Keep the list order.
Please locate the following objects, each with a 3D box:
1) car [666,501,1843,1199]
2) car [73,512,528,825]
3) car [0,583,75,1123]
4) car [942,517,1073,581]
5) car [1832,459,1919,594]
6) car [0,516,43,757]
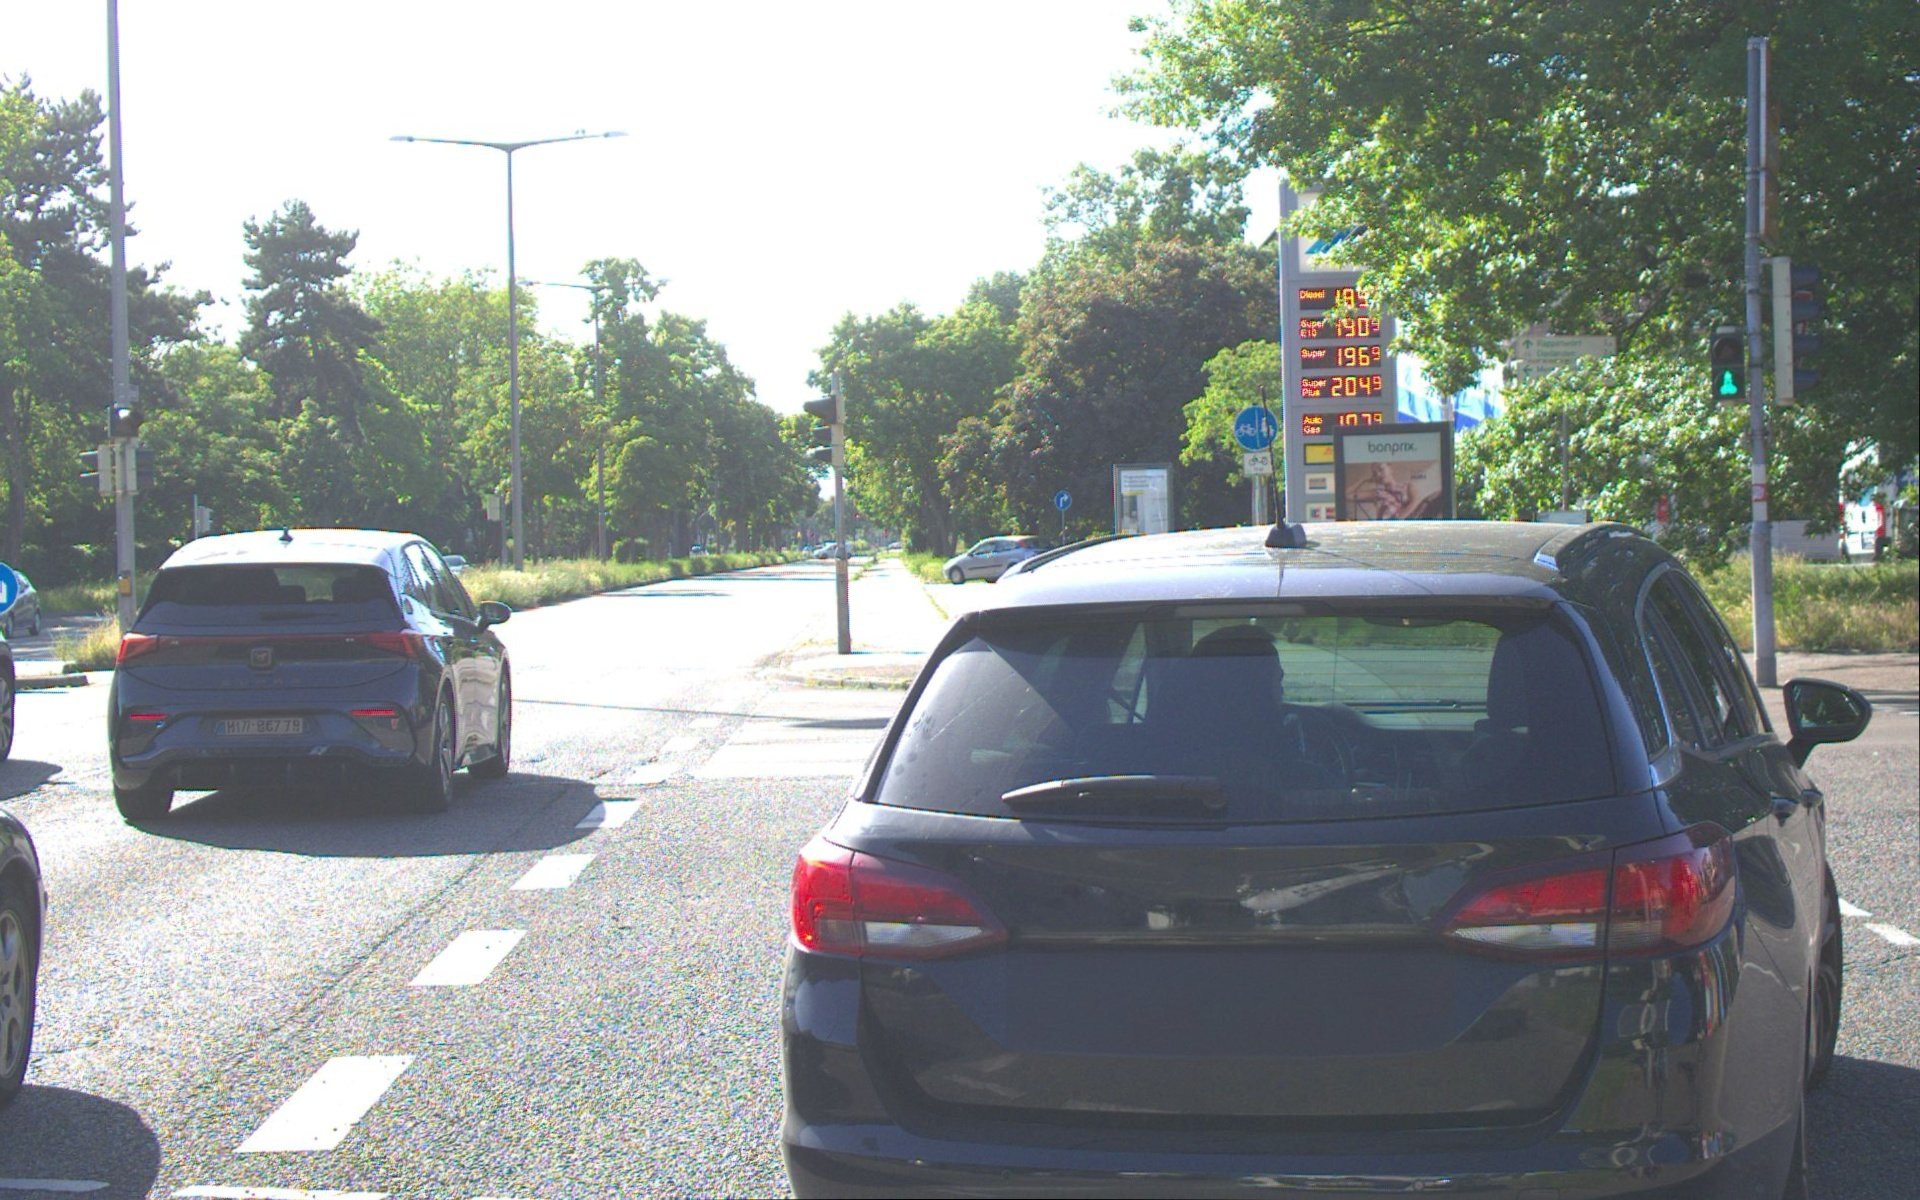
[{"bbox_3d":[0.946,0.573,7.311,1.763,1.486,4.288,0,2,15],"label":"car"},{"bbox_3d":[-3.640,0.318,19.739,1.836,1.583,4.365,0,1,-1],"label":"car"},{"bbox_3d":[-3.367,0.668,7.450,1.836,1.390,4.365,1,1,-1],"label":"car"},{"bbox_3d":[1.486,-1.631,109.420,1.994,2.007,3.998,0,1,-41],"label":"car"},{"bbox_3d":[16.994,-1.140,54.782,5.634,2.092,2.000,1,1,-2],"label":"car"},{"bbox_3d":[-7.490,0.253,22.442,1.910,1.647,4.365,1,1,-1],"label":"car"}]
